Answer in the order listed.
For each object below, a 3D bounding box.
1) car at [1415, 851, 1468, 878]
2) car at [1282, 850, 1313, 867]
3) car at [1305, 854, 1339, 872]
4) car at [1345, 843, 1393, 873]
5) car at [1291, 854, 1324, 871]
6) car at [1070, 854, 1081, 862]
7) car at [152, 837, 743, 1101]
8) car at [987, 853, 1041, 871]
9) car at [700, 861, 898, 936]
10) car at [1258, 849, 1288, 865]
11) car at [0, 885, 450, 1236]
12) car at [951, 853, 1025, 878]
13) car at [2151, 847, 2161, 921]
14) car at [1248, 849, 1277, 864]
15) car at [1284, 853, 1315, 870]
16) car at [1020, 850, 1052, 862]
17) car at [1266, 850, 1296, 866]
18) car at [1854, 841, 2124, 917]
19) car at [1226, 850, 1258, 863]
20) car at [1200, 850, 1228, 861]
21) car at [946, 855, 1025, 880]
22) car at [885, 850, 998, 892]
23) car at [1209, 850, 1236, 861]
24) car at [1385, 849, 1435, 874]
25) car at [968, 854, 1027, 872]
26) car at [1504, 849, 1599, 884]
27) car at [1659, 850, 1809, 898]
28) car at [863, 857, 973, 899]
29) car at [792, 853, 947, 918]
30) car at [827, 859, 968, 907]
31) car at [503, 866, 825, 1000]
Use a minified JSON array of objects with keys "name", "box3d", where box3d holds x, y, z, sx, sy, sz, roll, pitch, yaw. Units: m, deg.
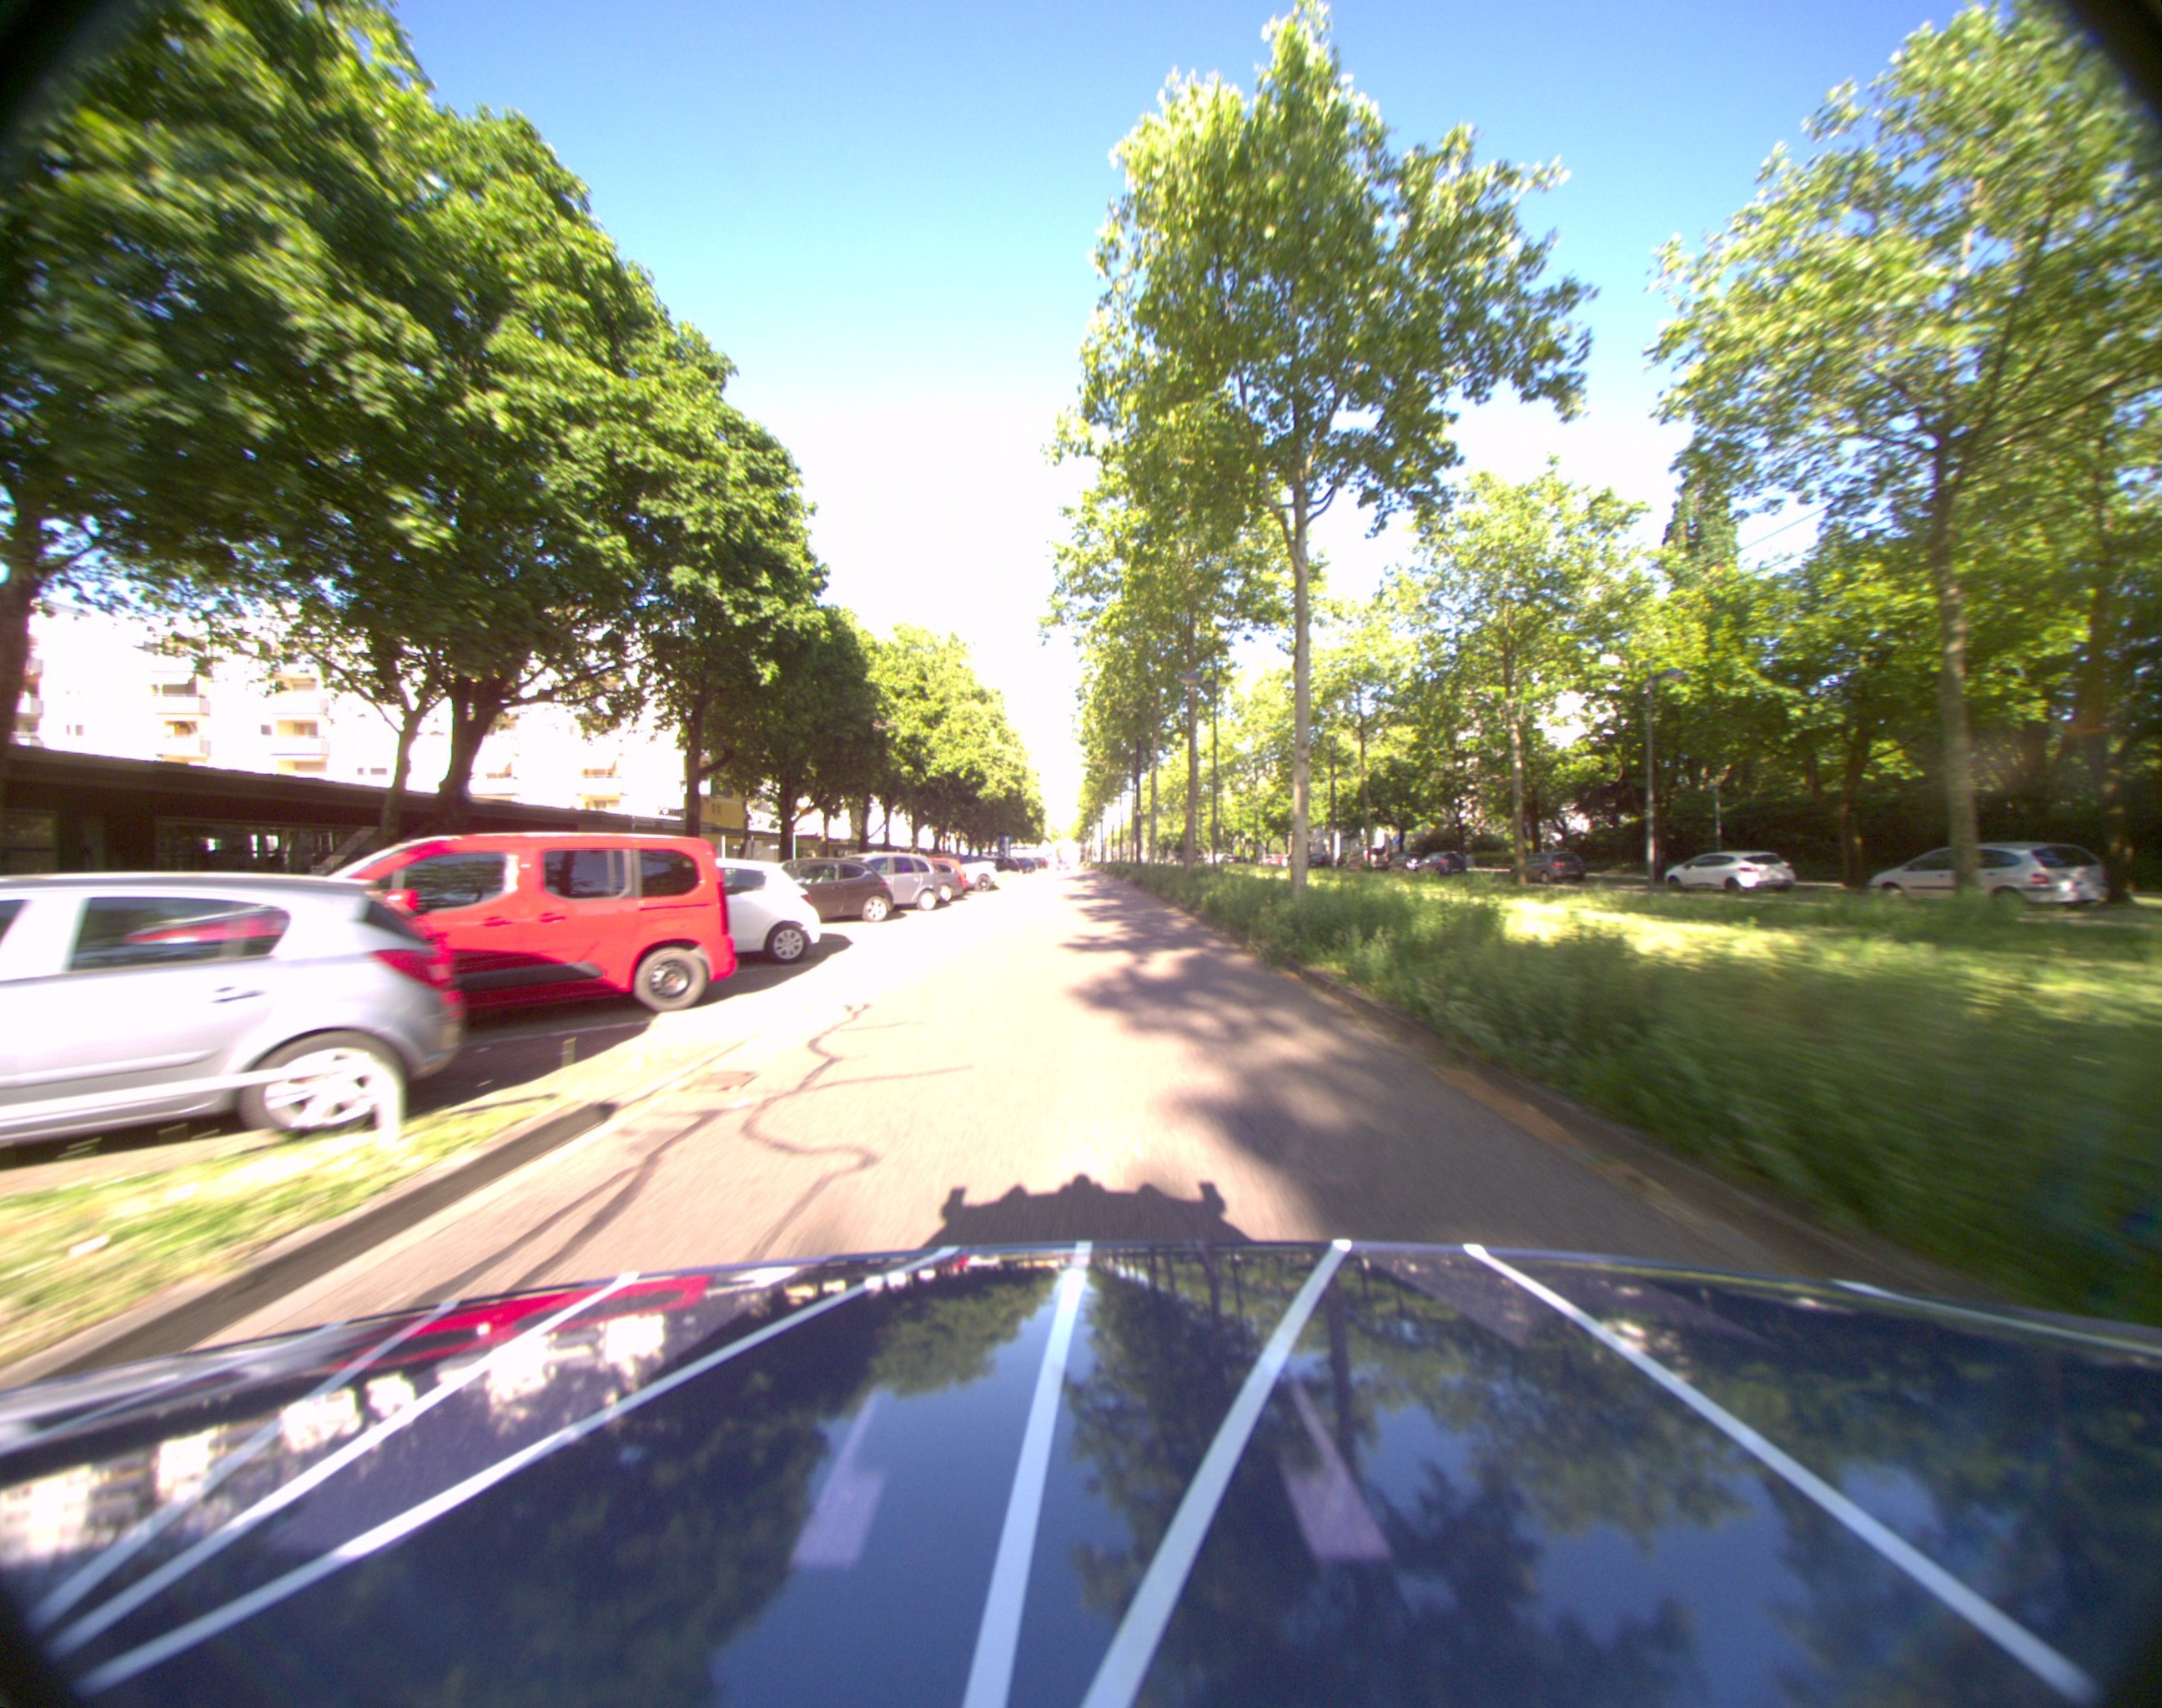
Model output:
[{"name":"car","box3d":[22.284,0.625,47.125,1.545,1.480,3.569,-4,0,0]},{"name":"car","box3d":[24.709,0.468,86.511,1.895,1.699,4.508,-1,1,37]},{"name":"car","box3d":[23.449,0.887,73.886,1.884,1.558,4.007,-1,1,37]},{"name":"car","box3d":[22.458,0.276,59.353,1.987,2.045,4.277,-5,1,0]},{"name":"car","box3d":[22.995,0.861,77.095,1.884,1.558,4.007,-1,1,37]},{"name":"car","box3d":[-1.159,0.949,167.123,1.897,1.623,4.502,-2,0,4]},{"name":"car","box3d":[-5.597,0.798,7.263,3.960,1.832,1.763,0,1,-44]},{"name":"car","box3d":[-5.752,0.710,65.763,1.894,1.440,4.510,1,0,44]},{"name":"car","box3d":[-6.181,0.898,16.903,1.677,1.450,3.753,1,1,44]},{"name":"car","box3d":[23.724,0.368,93.684,1.895,1.699,4.508,-1,1,37]},{"name":"car","box3d":[-5.589,0.956,3.678,3.837,1.464,1.514,0,1,-42]},{"name":"car","box3d":[-6.237,0.749,51.368,1.994,1.556,4.687,1,0,44]},{"name":"car","box3d":[22.500,0.566,12.991,1.902,1.480,4.627,-4,1,1]},{"name":"car","box3d":[23.217,0.350,97.098,1.895,1.699,4.508,-1,1,37]},{"name":"car","box3d":[23.306,0.798,81.006,1.884,1.558,4.007,-1,1,37]},{"name":"car","box3d":[-6.563,0.307,110.782,1.894,1.663,4.510,1,0,44]},{"name":"car","box3d":[23.501,0.468,89.143,1.895,1.699,4.508,-1,1,37]},{"name":"car","box3d":[22.622,0.530,19.240,1.820,1.587,4.189,-4,1,1]},{"name":"car","box3d":[23.763,0.365,112.321,4.507,1.699,1.895,-3,1,-31]},{"name":"car","box3d":[22.568,0.191,128.709,4.507,1.699,1.837,-3,1,-31]},{"name":"car","box3d":[-5.921,0.825,47.677,1.994,1.417,4.687,1,0,44]},{"name":"car","box3d":[-5.799,0.684,31.892,4.312,1.665,1.862,0,-1,-41]},{"name":"car","box3d":[22.764,0.266,122.490,4.006,1.699,1.837,-3,1,-31]},{"name":"car","box3d":[22.655,0.472,52.398,1.754,1.487,3.817,-4,1,1]},{"name":"car","box3d":[-6.695,0.727,61.389,1.894,1.440,4.510,1,0,44]},{"name":"car","box3d":[22.665,0.553,36.805,1.843,1.480,4.178,-4,0,-1]},{"name":"car","box3d":[22.561,0.631,26.483,1.723,1.411,4.023,-4,0,1]},{"name":"car","box3d":[-5.999,0.848,28.082,3.583,1.412,1.706,1,1,-42]},{"name":"car","box3d":[-5.698,0.810,20.738,1.695,1.581,3.731,1,0,44]},{"name":"car","box3d":[-5.809,0.880,24.378,1.681,1.395,4.096,1,0,44]},{"name":"car","box3d":[-5.672,0.935,10.571,3.635,1.486,1.677,0,1,-43]}]
